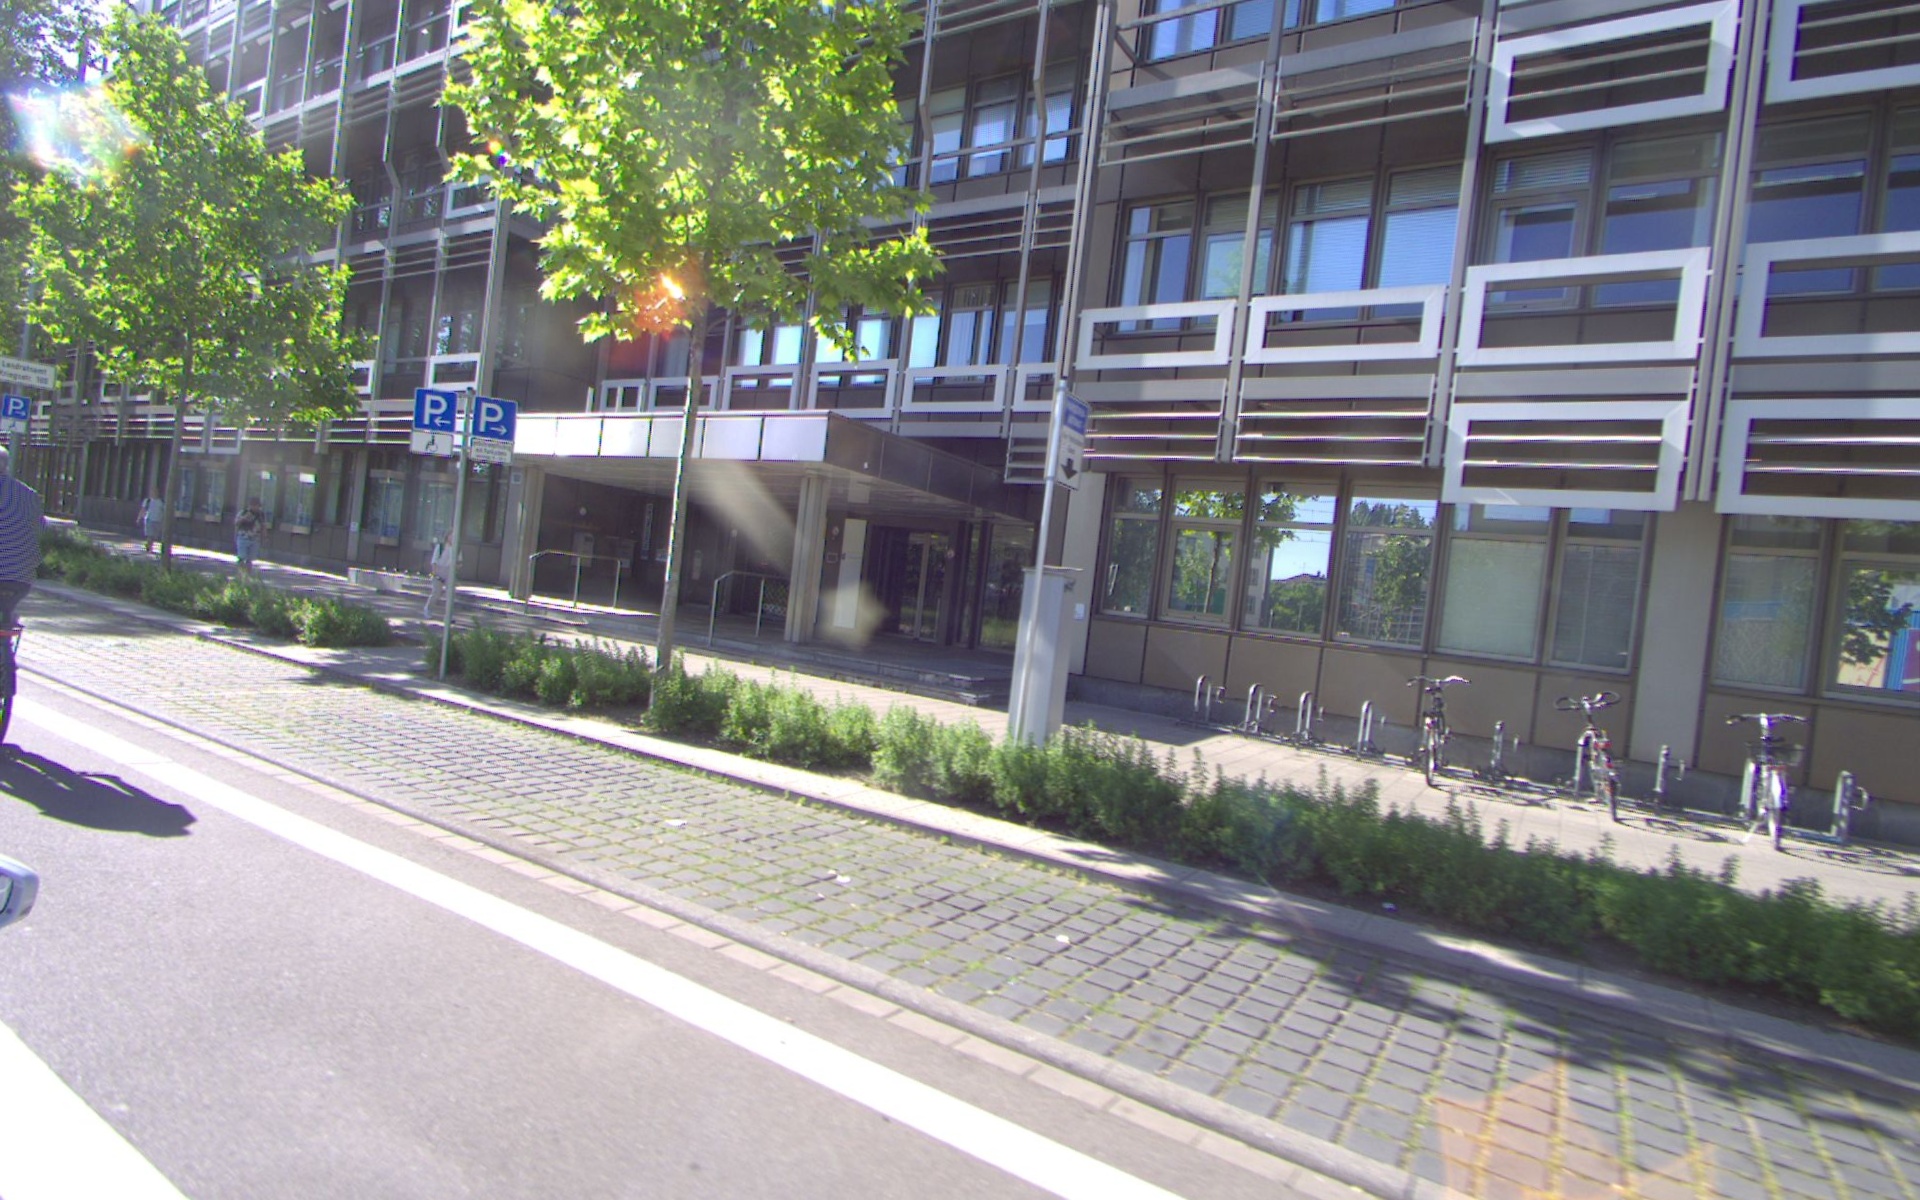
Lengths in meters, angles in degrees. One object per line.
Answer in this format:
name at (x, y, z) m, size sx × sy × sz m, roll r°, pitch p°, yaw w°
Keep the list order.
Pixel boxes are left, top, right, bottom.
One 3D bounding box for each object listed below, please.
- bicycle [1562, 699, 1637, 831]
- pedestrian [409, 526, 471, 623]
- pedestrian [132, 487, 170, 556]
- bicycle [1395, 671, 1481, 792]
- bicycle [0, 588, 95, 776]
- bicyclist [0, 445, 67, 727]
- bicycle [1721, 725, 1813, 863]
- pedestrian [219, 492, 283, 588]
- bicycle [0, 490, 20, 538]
bicycle at (6.192, 1.536, 9.704) m, size 0.420 × 1.024 × 1.857 m, roll 7°, pitch 2°, yaw 35°
pedestrian at (-8.476, -0.415, 16.390) m, size 0.724 × 1.494 × 0.511 m, roll 7°, pitch 3°, yaw 34°
pedestrian at (-21.601, -2.094, 26.857) m, size 0.761 × 1.723 × 0.510 m, roll 7°, pitch 3°, yaw 34°
bicycle at (5.166, 1.360, 10.808) m, size 0.420 × 1.112 × 1.857 m, roll 7°, pitch 2°, yaw 35°
bicycle at (-5.987, 0.386, 5.990) m, size 2.159 × 0.916 × 0.499 m, roll 7°, pitch -1°, yaw 30°
bicyclist at (-5.760, -0.098, 5.909) m, size 0.527 × 1.621 × 0.513 m, roll 7°, pitch 1°, yaw 30°
bicycle at (7.191, 1.678, 9.013) m, size 0.420 × 0.951 × 1.857 m, roll 7°, pitch 2°, yaw 35°
pedestrian at (-13.932, -1.180, 19.768) m, size 0.790 × 1.749 × 0.648 m, roll 7°, pitch 1°, yaw 33°
bicycle at (-26.477, -2.368, 26.831) m, size 0.569 × 1.253 × 1.937 m, roll 7°, pitch 3°, yaw 31°
